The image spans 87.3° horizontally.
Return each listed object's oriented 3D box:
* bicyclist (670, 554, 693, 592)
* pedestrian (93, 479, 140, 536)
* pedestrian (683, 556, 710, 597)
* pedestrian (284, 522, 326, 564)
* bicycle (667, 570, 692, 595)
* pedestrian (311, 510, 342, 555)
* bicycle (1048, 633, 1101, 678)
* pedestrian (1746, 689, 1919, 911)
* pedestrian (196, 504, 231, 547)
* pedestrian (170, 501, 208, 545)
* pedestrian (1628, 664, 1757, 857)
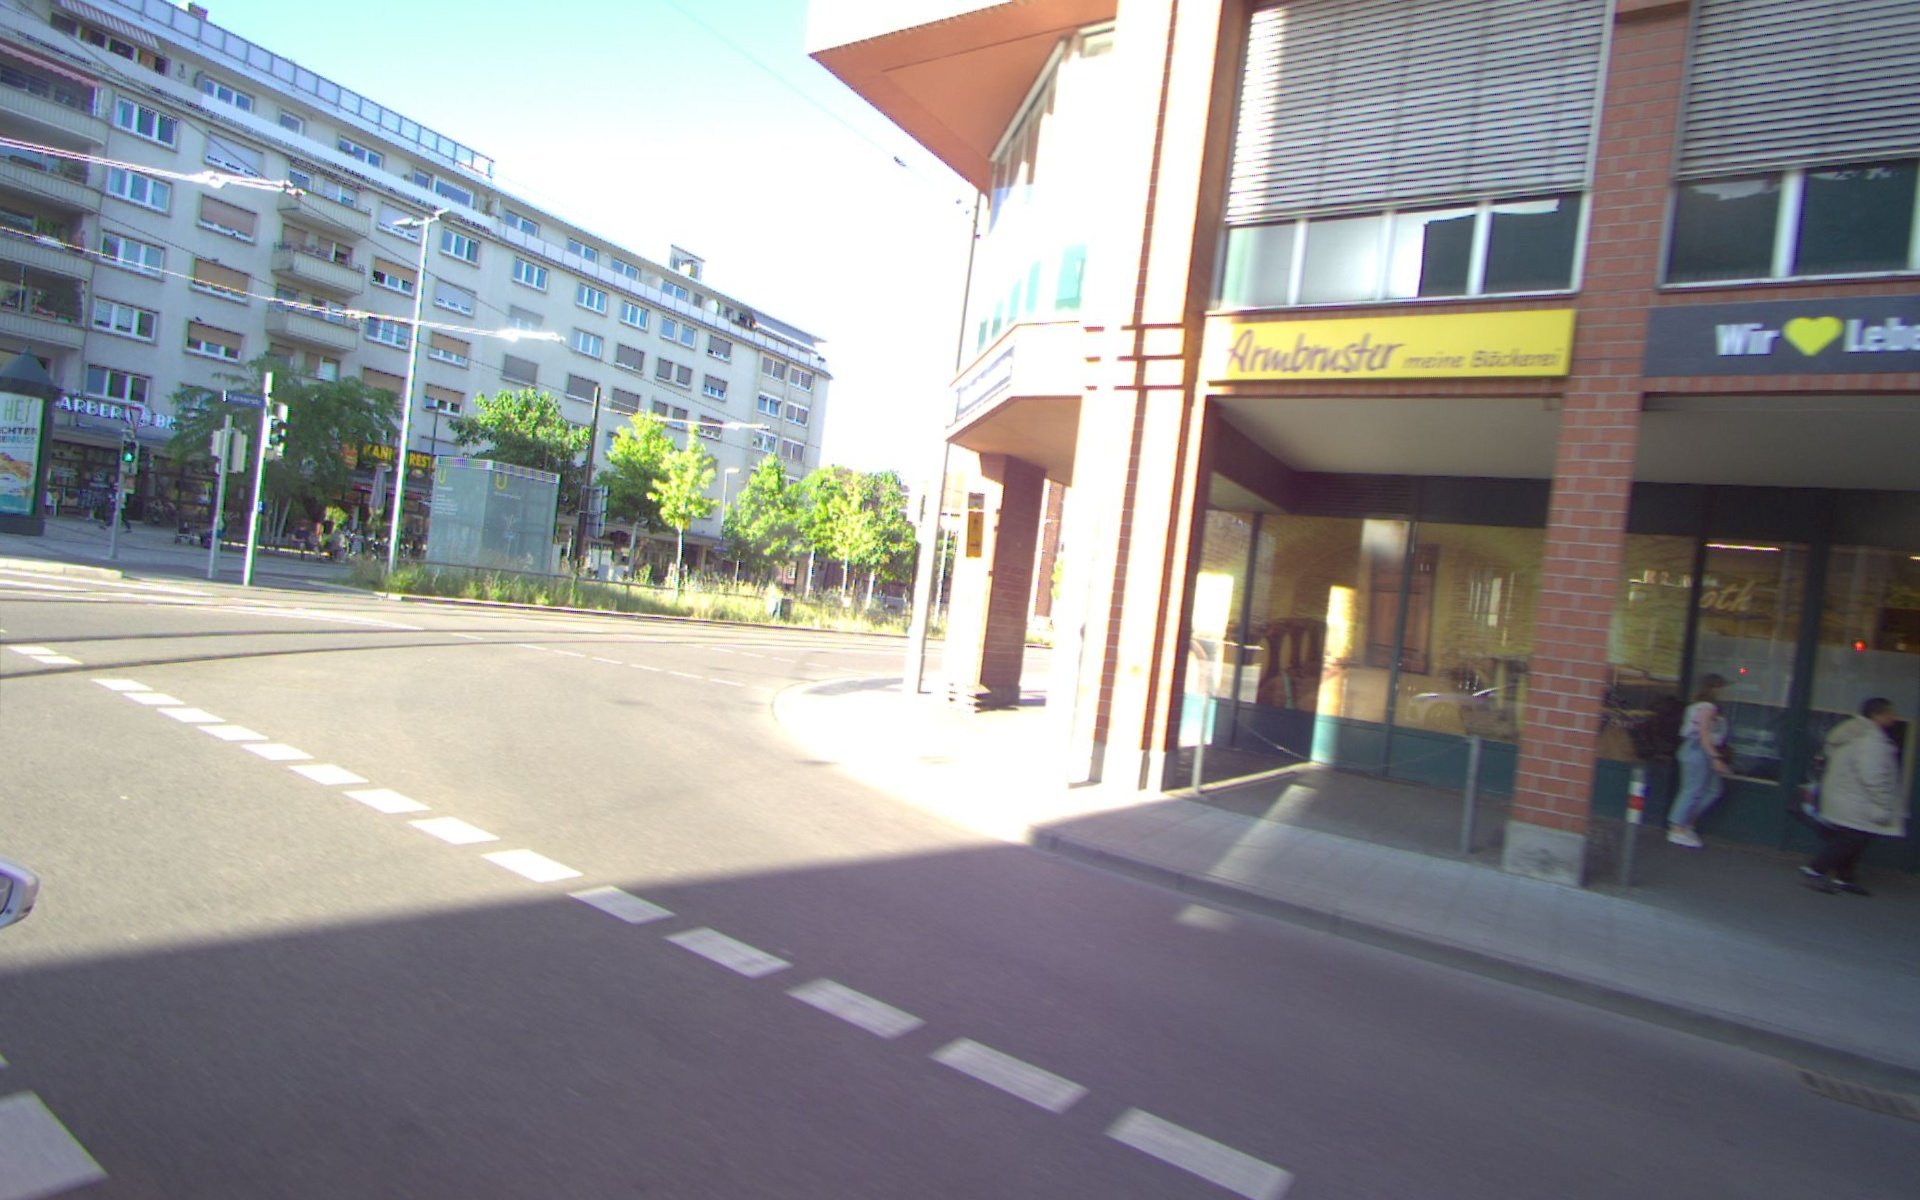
[{"bbox_3d":[-15.413,-1.468,55.656,0.885,1.973,0.785,7,1,-7],"label":"bicyclist"},{"bbox_3d":[-30.699,-3.375,36.630,0.676,1.890,1.042,7,1,35],"label":"pedestrian"},{"bbox_3d":[-11.640,-1.032,44.438,0.624,1.692,0.753,7,1,27],"label":"pedestrian"},{"bbox_3d":[-24.163,-2.097,37.119,1.088,1.382,0.720,8,1,24],"label":"pedestrian"},{"bbox_3d":[-15.502,-0.970,55.648,0.885,1.267,2.211,7,0,-6],"label":"bicycle"},{"bbox_3d":[-26.592,-2.838,42.219,0.704,1.767,0.682,7,1,22],"label":"pedestrian"},{"bbox_3d":[2.783,1.356,24.330,0.452,1.002,1.862,5,-2,32],"label":"bicycle"},{"bbox_3d":[7.292,1.611,8.292,0.741,1.609,0.845,7,1,-7],"label":"pedestrian"},{"bbox_3d":[-26.849,-2.676,36.197,0.712,1.437,0.923,7,1,-26],"label":"pedestrian"},{"bbox_3d":[-27.817,-2.777,36.293,0.711,1.464,0.924,7,1,-21],"label":"pedestrian"},{"bbox_3d":[7.036,1.508,9.703,0.784,1.683,0.600,7,1,32],"label":"pedestrian"}]
